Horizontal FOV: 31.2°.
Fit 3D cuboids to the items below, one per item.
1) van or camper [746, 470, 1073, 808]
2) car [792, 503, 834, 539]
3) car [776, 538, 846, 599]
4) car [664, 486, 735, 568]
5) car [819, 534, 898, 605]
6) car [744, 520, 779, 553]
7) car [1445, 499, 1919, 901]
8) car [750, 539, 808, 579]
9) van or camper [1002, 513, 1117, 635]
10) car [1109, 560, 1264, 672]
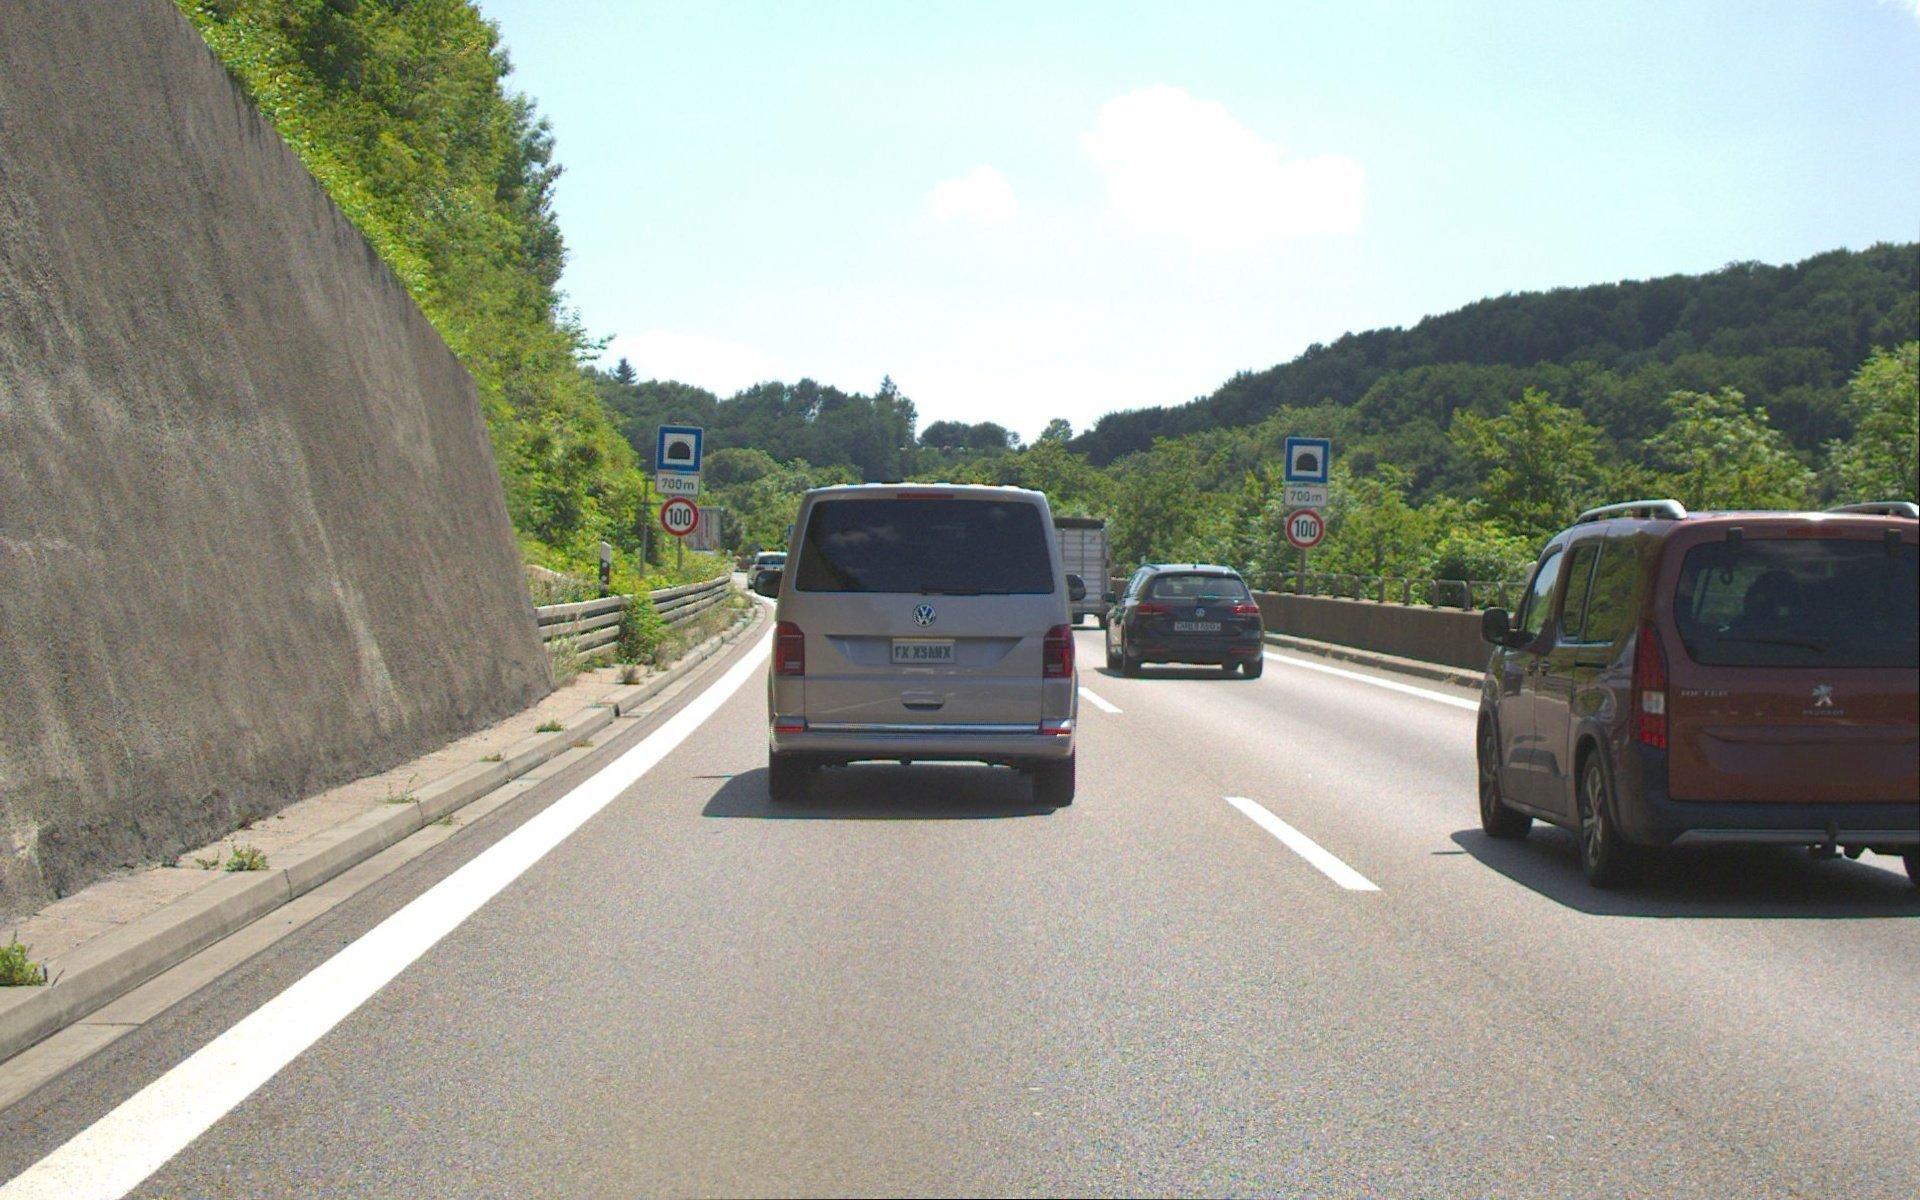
[{"bbox_3d":[-0.301,0.201,22.147,1.875,1.943,4.294,1,1,0],"label":"van or camper"},{"bbox_3d":[-8.523,-4.563,198.632,1.993,2.007,4.001,1,1,-8],"label":"car"},{"bbox_3d":[-4.800,-1.026,110.404,1.993,1.908,4.001,1,1,-6],"label":"car"},{"bbox_3d":[-16.078,-4.460,211.347,4.042,4.855,10.111,1,1,-6],"label":"car"},{"bbox_3d":[-2.710,-0.812,90.981,1.993,1.811,4.001,1,1,-3],"label":"car"},{"bbox_3d":[-12.359,-3.965,213.734,1.993,2.007,4.001,1,1,-5],"label":"car"},{"bbox_3d":[3.792,0.431,17.567,1.833,1.778,4.676,0,0,-2],"label":"car"},{"bbox_3d":[-7.596,-1.700,143.851,2.142,1.601,5.079,-1,0,-6],"label":"car"},{"bbox_3d":[2.129,-0.569,74.897,2.263,2.542,4.737,-1,1,-1],"label":"van or camper"},{"bbox_3d":[2.926,0.181,45.033,1.768,1.371,3.593,1,1,0],"label":"car"}]
